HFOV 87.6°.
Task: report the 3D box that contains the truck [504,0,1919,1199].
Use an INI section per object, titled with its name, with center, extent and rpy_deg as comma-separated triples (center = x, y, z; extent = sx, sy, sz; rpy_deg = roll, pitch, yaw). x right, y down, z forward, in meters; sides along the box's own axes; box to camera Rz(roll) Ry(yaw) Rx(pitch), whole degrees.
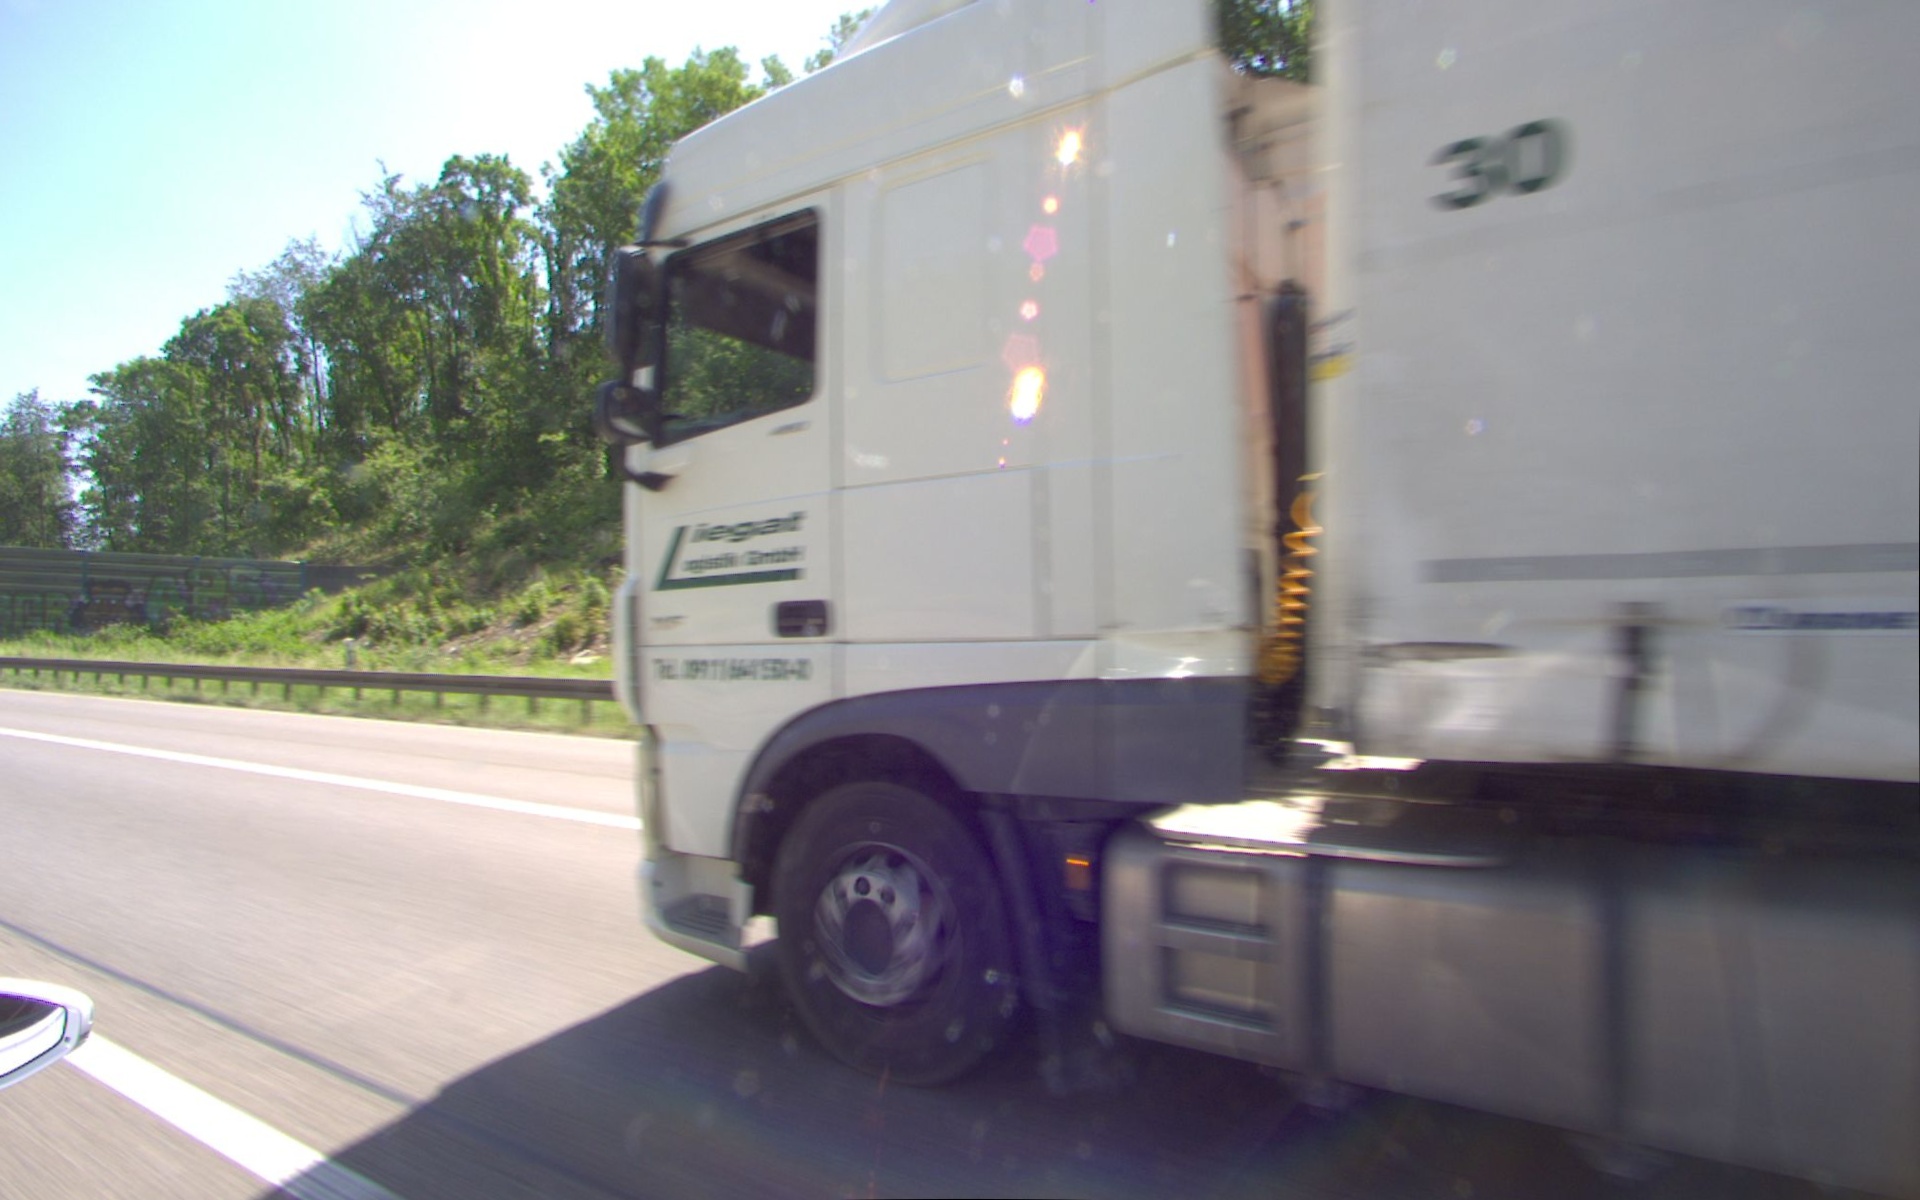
[truck]
center = 1.352, -0.528, 3.683
extent = 5.785, 4.259, 2.781
rpy_deg = 0, -1, 33
